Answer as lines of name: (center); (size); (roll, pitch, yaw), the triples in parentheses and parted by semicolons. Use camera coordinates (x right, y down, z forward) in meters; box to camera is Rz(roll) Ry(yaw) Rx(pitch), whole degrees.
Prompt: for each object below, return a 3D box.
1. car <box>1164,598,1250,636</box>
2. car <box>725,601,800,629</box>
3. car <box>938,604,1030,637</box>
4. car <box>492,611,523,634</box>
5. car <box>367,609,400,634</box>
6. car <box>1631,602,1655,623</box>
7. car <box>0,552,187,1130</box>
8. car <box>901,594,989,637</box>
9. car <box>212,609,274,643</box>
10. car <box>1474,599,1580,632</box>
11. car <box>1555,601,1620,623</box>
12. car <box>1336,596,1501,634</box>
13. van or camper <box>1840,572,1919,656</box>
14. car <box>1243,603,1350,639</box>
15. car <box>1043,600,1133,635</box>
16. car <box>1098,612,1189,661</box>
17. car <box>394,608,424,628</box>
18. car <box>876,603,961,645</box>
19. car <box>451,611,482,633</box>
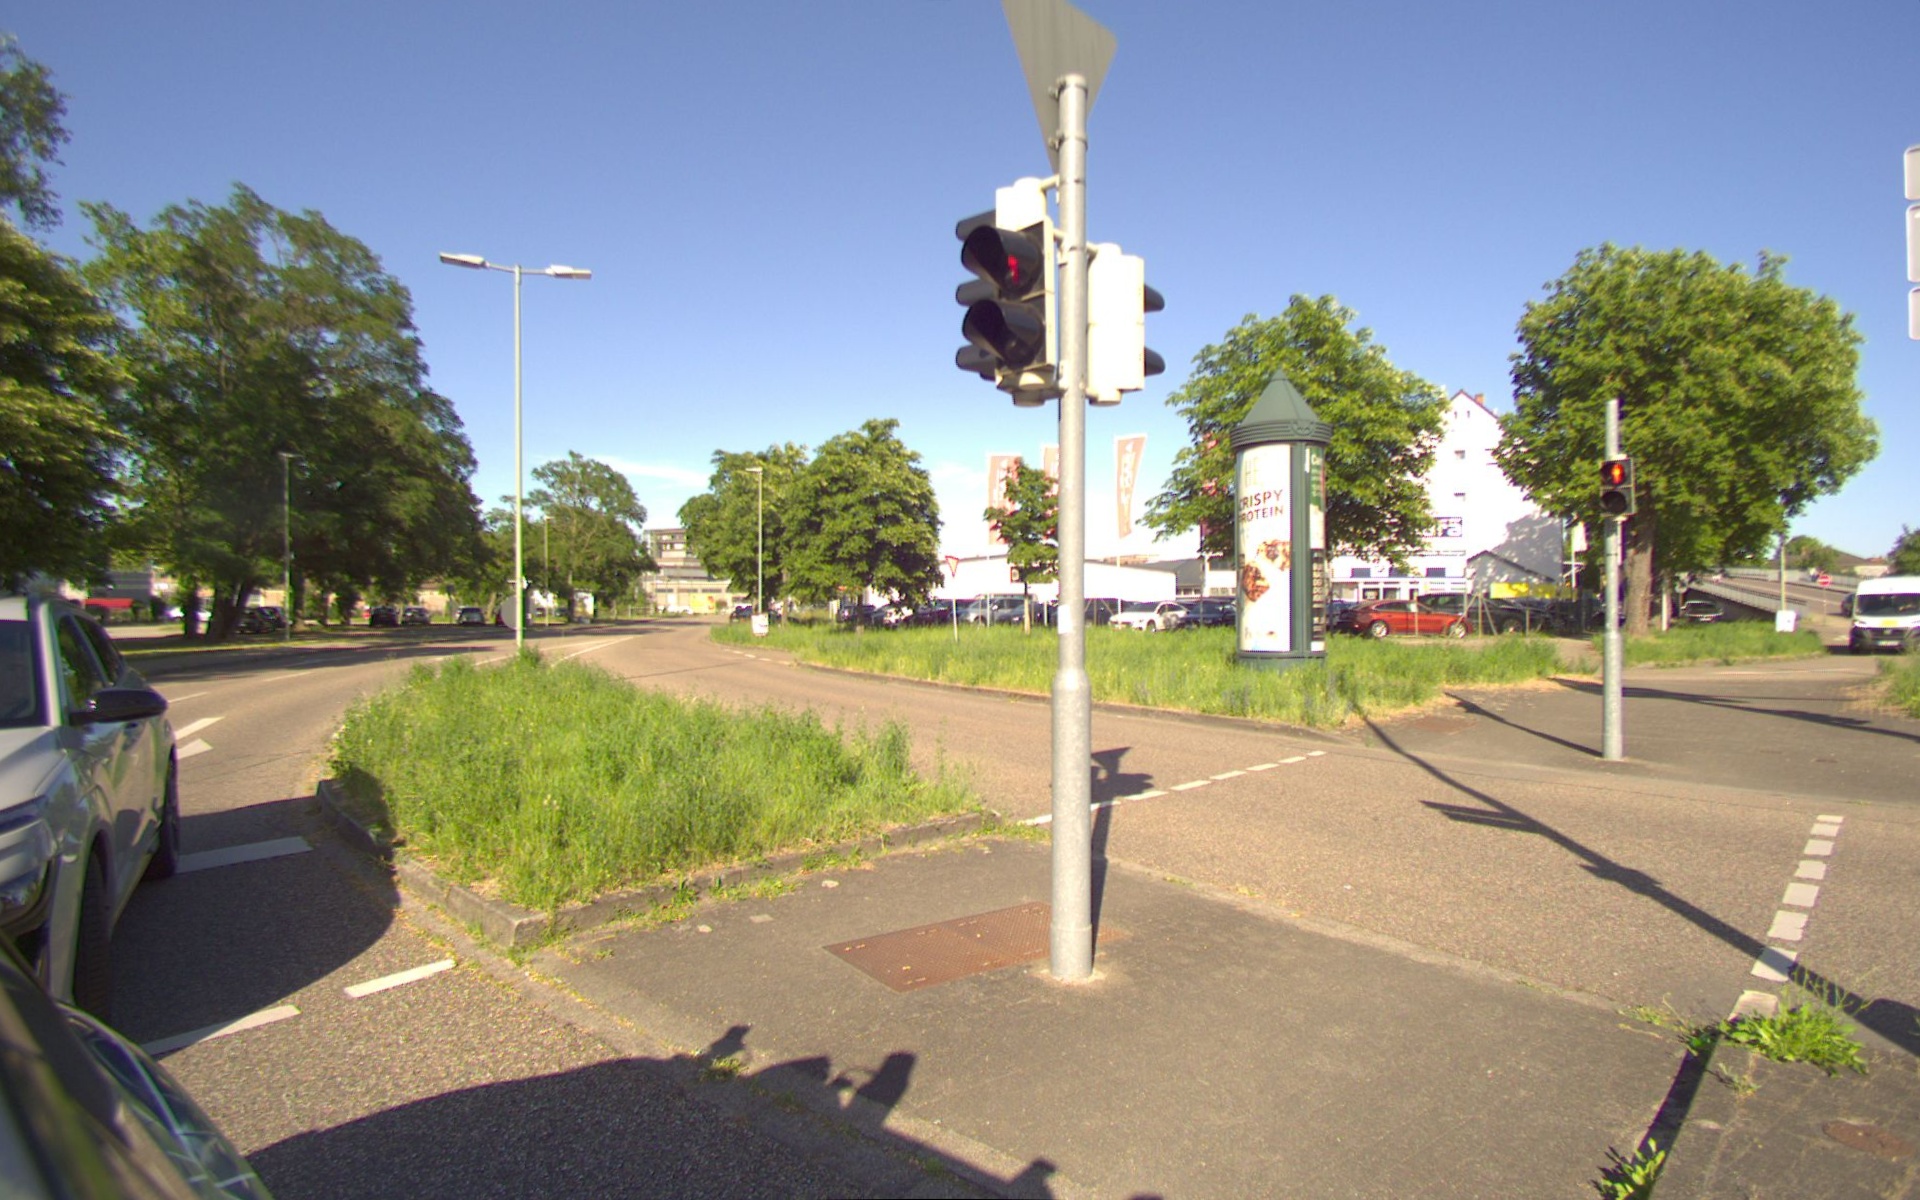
car: (9.978, 0.664, 40.713); (1.744, 1.473, 3.945); (-2, -1, 41)
car: (-11.331, 0.841, 58.080); (3.930, 1.541, 1.935); (0, -1, -23)
car: (1.143, 0.915, 47.277); (3.932, 1.419, 1.844); (-1, 0, -32)
car: (-34.029, 1.678, 76.061); (1.965, 1.679, 4.013); (2, -1, -25)
car: (-40.941, 1.495, 71.905); (1.708, 1.631, 4.013); (2, -1, -25)
car: (68.086, 1.224, 100.935); (1.924, 2.006, 4.208); (-1, 0, 34)
car: (-4.498, 0.660, 4.194); (1.687, 1.658, 4.067); (1, 0, -32)
car: (-0.724, 0.779, 49.726); (3.934, 2.029, 2.005); (0, -1, -36)
car: (-40.603, 1.429, 57.394); (1.975, 1.809, 4.013); (-1, 0, -22)
car: (28.834, 0.779, 51.606); (4.368, 1.587, 1.805); (-1, 0, 15)
car: (46.164, 0.892, 74.506); (3.623, 1.521, 1.782); (-1, 0, 5)
car: (16.791, 0.537, 37.306); (4.995, 1.320, 2.358); (-1, 0, 4)
van or camper: (31.625, 0.470, 34.267); (2.604, 2.602, 6.522); (-3, -2, 40)
car: (14.558, 0.908, 43.903); (3.998, 1.517, 1.808); (-2, -1, 42)
car: (5.575, 0.737, 43.745); (1.999, 1.452, 3.945); (-2, -1, 41)
car: (7.685, 1.497, 42.216); (1.999, 1.901, 3.945); (-2, -1, 41)
car: (-42.494, 1.387, 78.120); (1.840, 1.451, 3.495); (2, -1, -25)
car: (-2.116, 1.216, 52.026); (3.935, 2.029, 2.004); (-1, 0, -37)
car: (-36.578, 1.612, 75.123); (1.965, 1.461, 4.013); (2, -1, -25)
